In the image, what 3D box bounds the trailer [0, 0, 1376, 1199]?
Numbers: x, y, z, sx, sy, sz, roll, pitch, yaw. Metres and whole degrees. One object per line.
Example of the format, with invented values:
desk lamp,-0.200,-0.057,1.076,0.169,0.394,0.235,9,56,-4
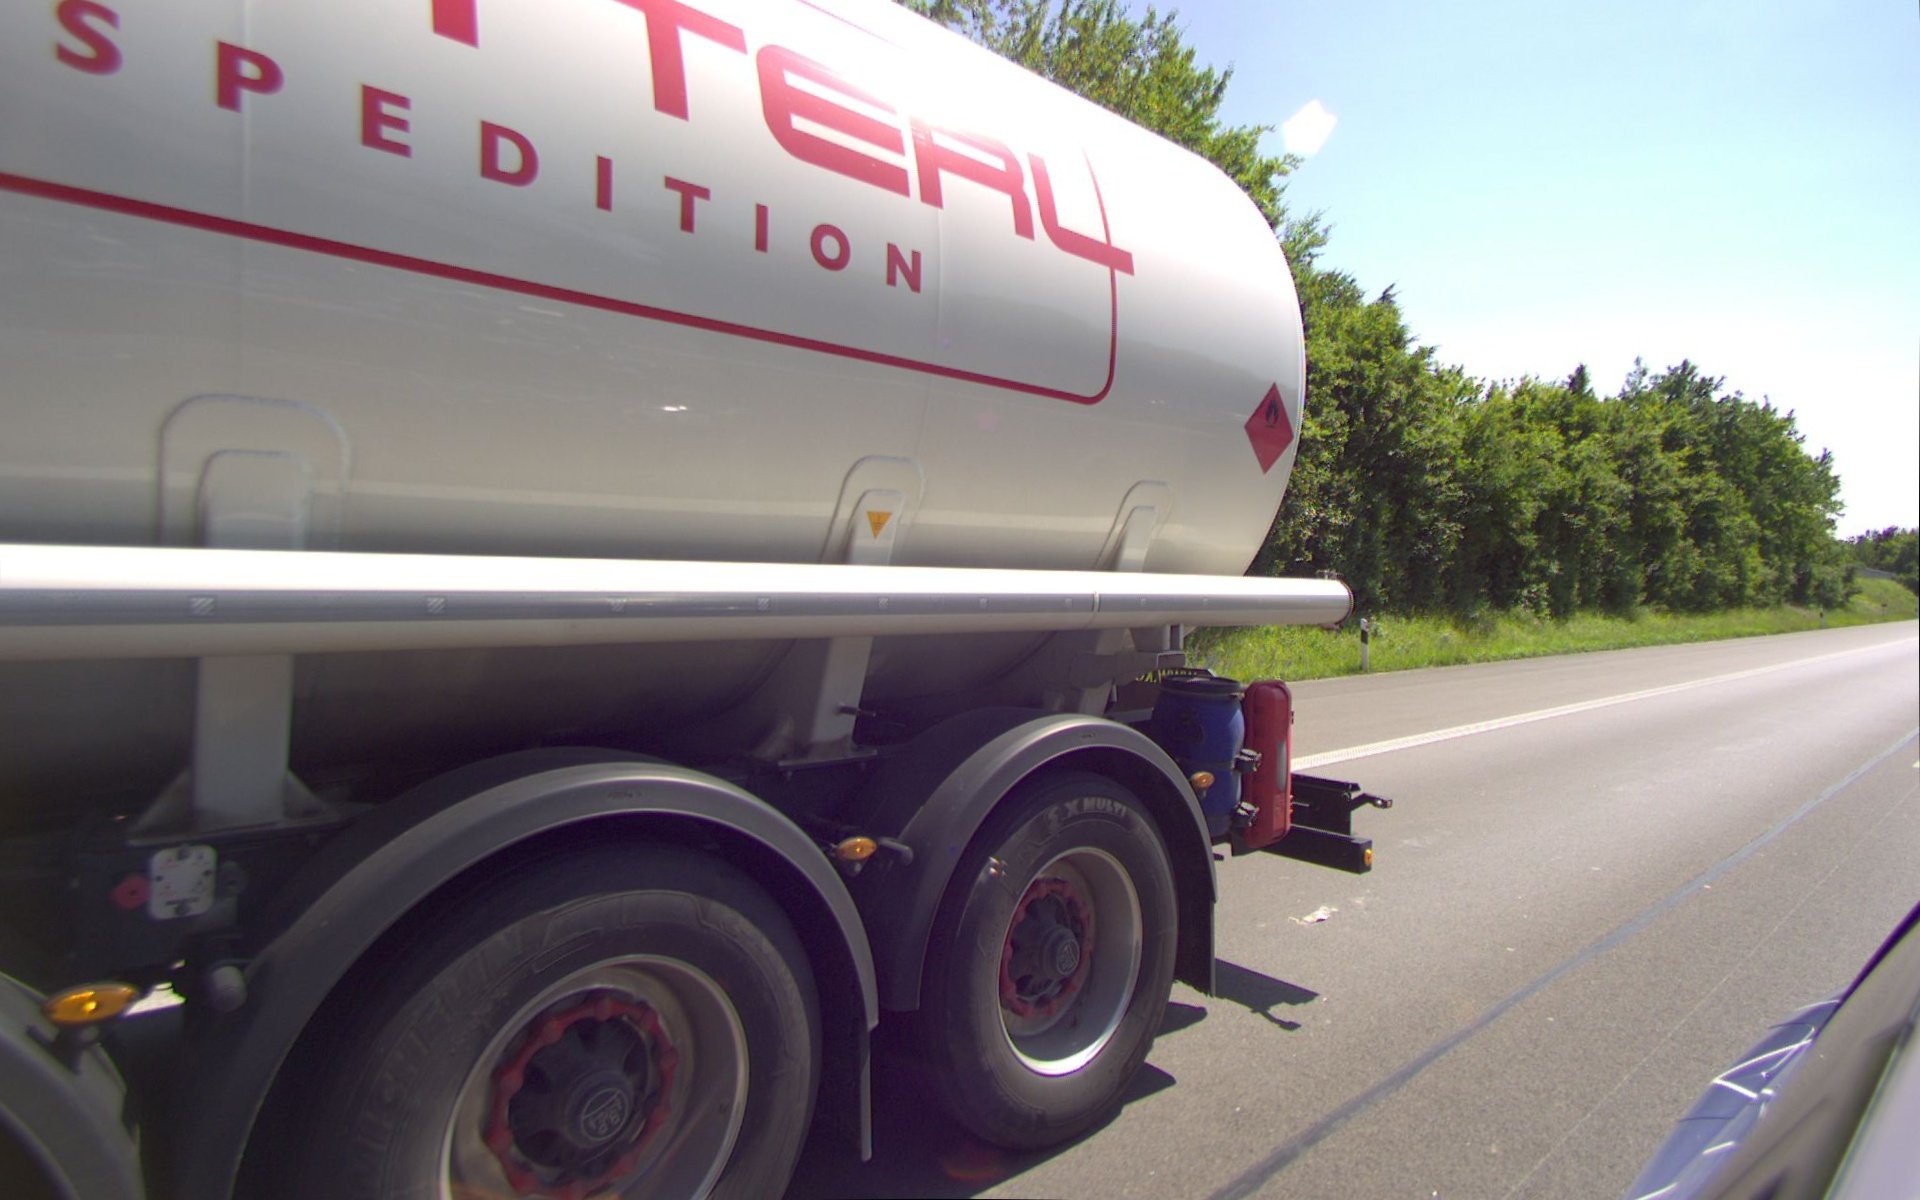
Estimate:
trailer,-3.502,-0.354,0.959,10.958,3.432,2.652,0,1,-41
